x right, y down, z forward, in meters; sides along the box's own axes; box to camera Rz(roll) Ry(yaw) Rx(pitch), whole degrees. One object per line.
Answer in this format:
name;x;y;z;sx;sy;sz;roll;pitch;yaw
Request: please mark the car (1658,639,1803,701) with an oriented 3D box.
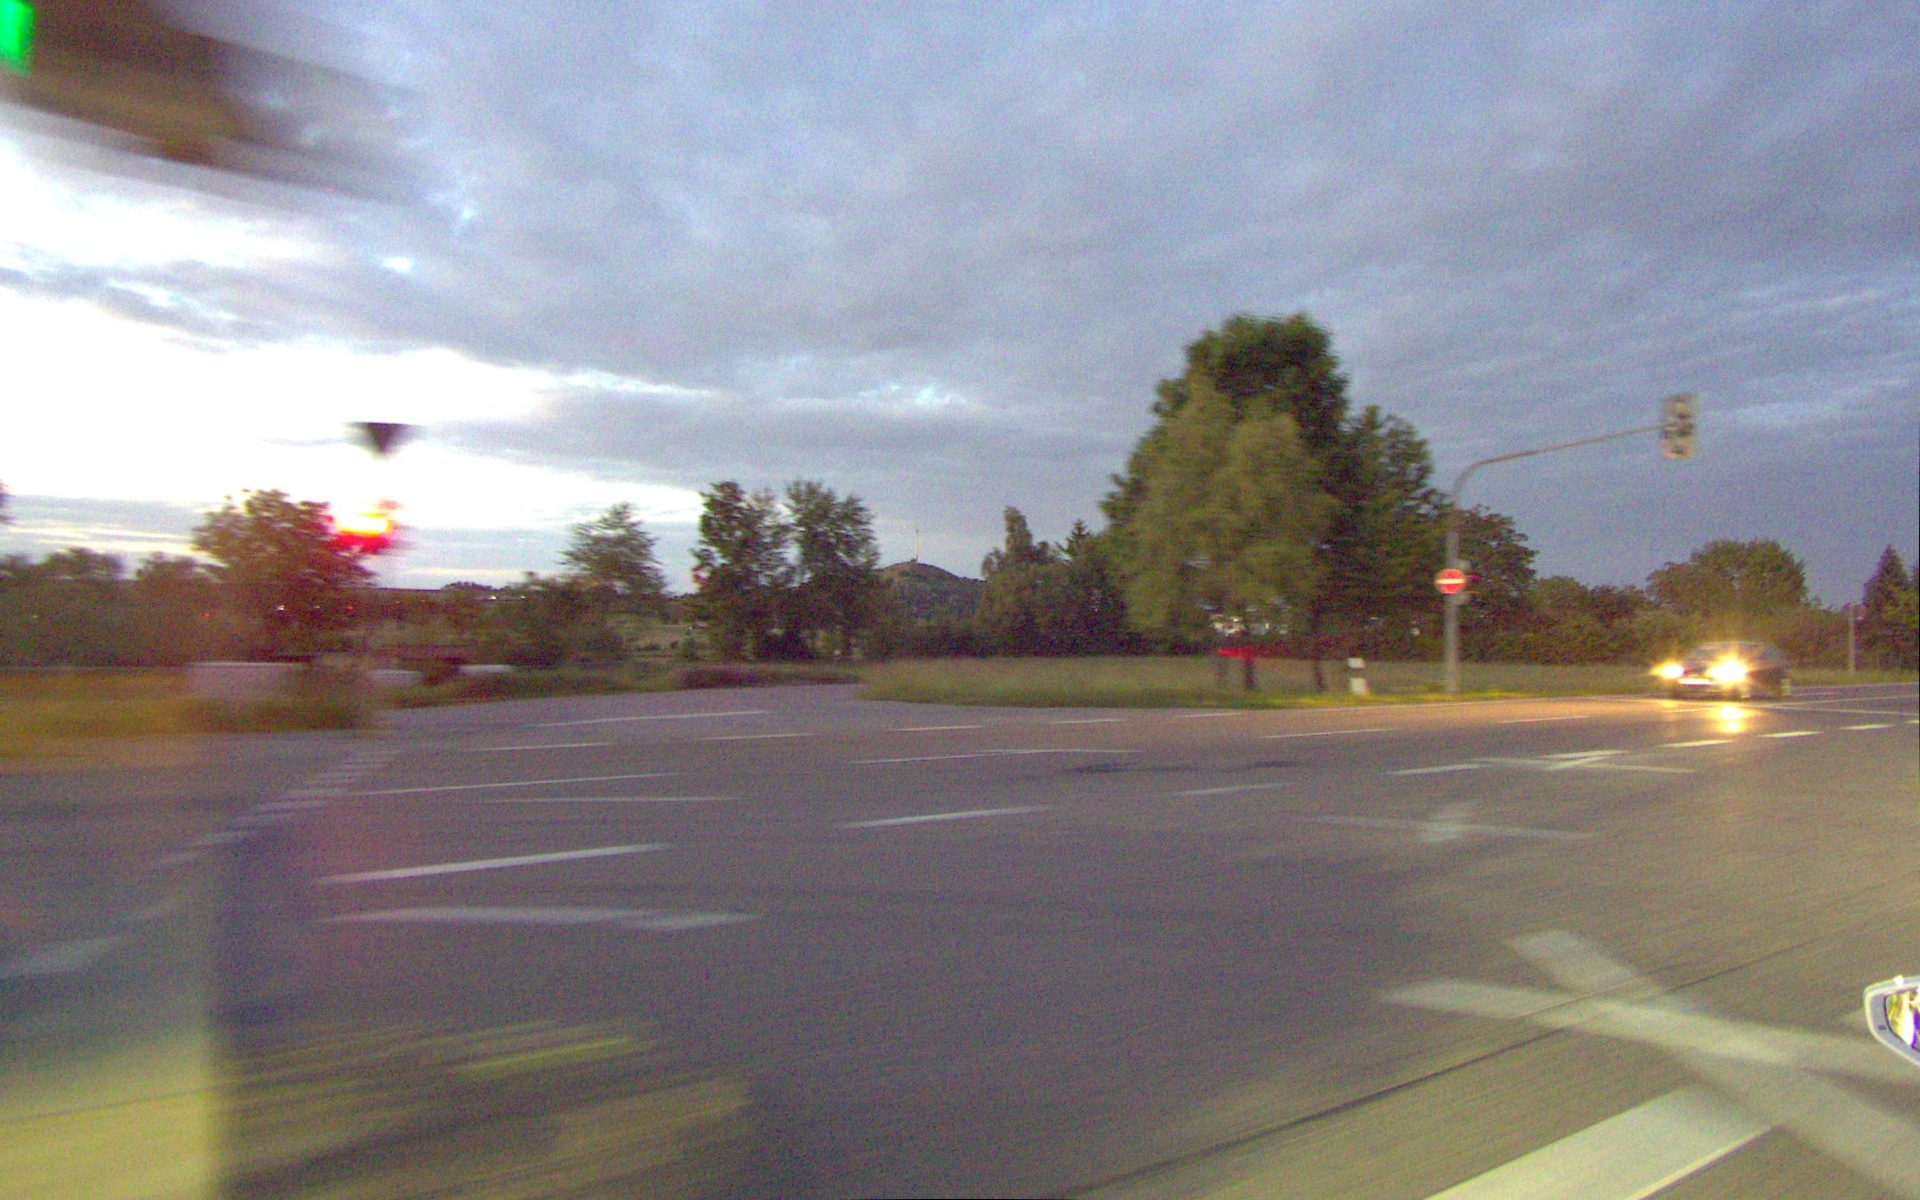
car;19.933;1.777;25.949;3.985;1.403;1.643;2;0;-31
